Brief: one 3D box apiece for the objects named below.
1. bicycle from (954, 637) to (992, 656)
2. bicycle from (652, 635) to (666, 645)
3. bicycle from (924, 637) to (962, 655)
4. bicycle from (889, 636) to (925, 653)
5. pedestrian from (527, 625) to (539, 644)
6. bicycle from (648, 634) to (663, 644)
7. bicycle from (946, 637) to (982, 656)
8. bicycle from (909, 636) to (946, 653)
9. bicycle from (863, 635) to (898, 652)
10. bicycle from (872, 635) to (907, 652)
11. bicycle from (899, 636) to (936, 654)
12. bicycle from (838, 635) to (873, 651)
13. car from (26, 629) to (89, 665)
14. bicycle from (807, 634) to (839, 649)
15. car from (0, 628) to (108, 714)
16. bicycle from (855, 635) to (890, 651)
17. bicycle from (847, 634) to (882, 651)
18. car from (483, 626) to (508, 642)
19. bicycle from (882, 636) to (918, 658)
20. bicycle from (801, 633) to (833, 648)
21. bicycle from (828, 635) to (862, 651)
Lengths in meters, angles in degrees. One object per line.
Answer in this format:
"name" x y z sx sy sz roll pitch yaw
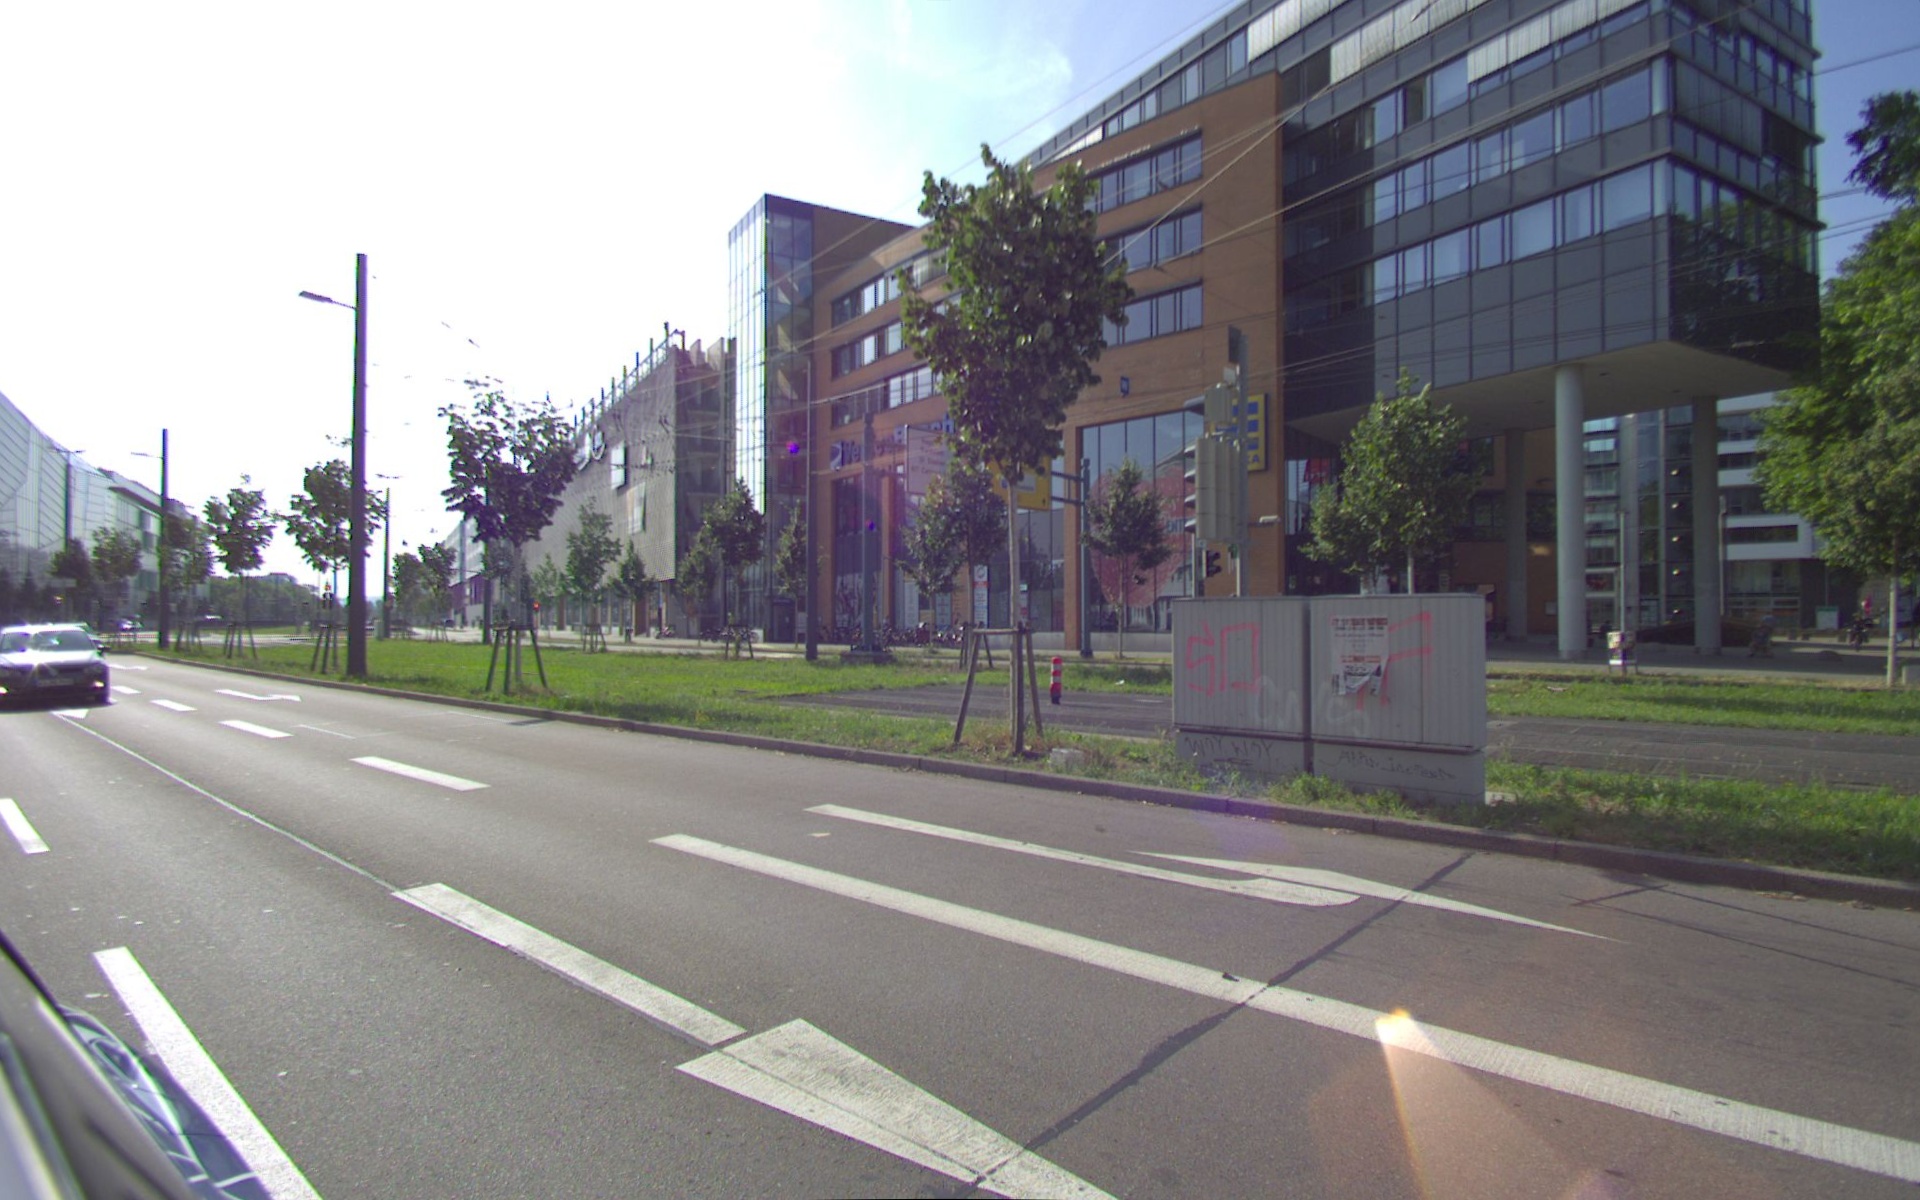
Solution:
"bicycle" 0.669 2.381 51.571 2.021 0.928 0.575 1 -2 -36
"bicycle" -23.112 3.079 77.732 1.006 0.758 0.362 0 -2 -30
"bicycle" -0.889 2.407 53.378 2.021 0.928 0.575 1 -2 -36
"bicycle" -2.919 2.465 56.191 2.021 0.928 0.575 1 -2 -36
"pedestrian" -36.576 2.958 86.686 0.751 1.591 0.591 1 -2 -35
"bicycle" -23.707 3.065 78.769 0.989 0.758 0.453 0 -2 -30
"bicycle" 0.201 2.376 52.142 2.021 0.928 0.381 1 -2 -36
"bicycle" -1.758 2.405 54.821 2.021 0.928 0.575 1 -2 -36
"bicycle" -4.563 2.482 58.264 2.021 0.928 0.575 1 -2 -36
"bicycle" -4.016 2.457 57.524 2.021 0.928 0.575 1 -2 -36
"bicycle" -2.334 2.455 55.515 2.021 0.928 0.575 1 -2 -36
"bicycle" -6.219 2.558 60.318 2.021 0.928 0.575 1 -2 -36
"car" -35.926 1.837 40.265 3.164 1.353 1.566 -1 -2 42
"bicycle" -8.628 2.595 63.749 2.021 0.928 0.575 1 -2 -36
"car" -17.239 1.243 18.854 3.895 1.430 1.621 -1 -2 43
"bicycle" -5.067 2.500 58.940 2.021 0.928 0.575 1 -2 -36
"bicycle" -5.632 2.492 59.608 2.021 0.928 0.575 1 -2 -36
"car" -38.216 2.753 83.210 1.347 1.215 2.644 1 -1 -37
"bicycle" -2.822 2.189 47.463 0.710 0.914 1.657 -1 0 43
"bicycle" -9.087 2.591 64.328 2.021 0.928 0.575 1 -2 -36
"bicycle" -6.965 2.577 61.315 2.021 0.928 0.575 1 -2 -36
